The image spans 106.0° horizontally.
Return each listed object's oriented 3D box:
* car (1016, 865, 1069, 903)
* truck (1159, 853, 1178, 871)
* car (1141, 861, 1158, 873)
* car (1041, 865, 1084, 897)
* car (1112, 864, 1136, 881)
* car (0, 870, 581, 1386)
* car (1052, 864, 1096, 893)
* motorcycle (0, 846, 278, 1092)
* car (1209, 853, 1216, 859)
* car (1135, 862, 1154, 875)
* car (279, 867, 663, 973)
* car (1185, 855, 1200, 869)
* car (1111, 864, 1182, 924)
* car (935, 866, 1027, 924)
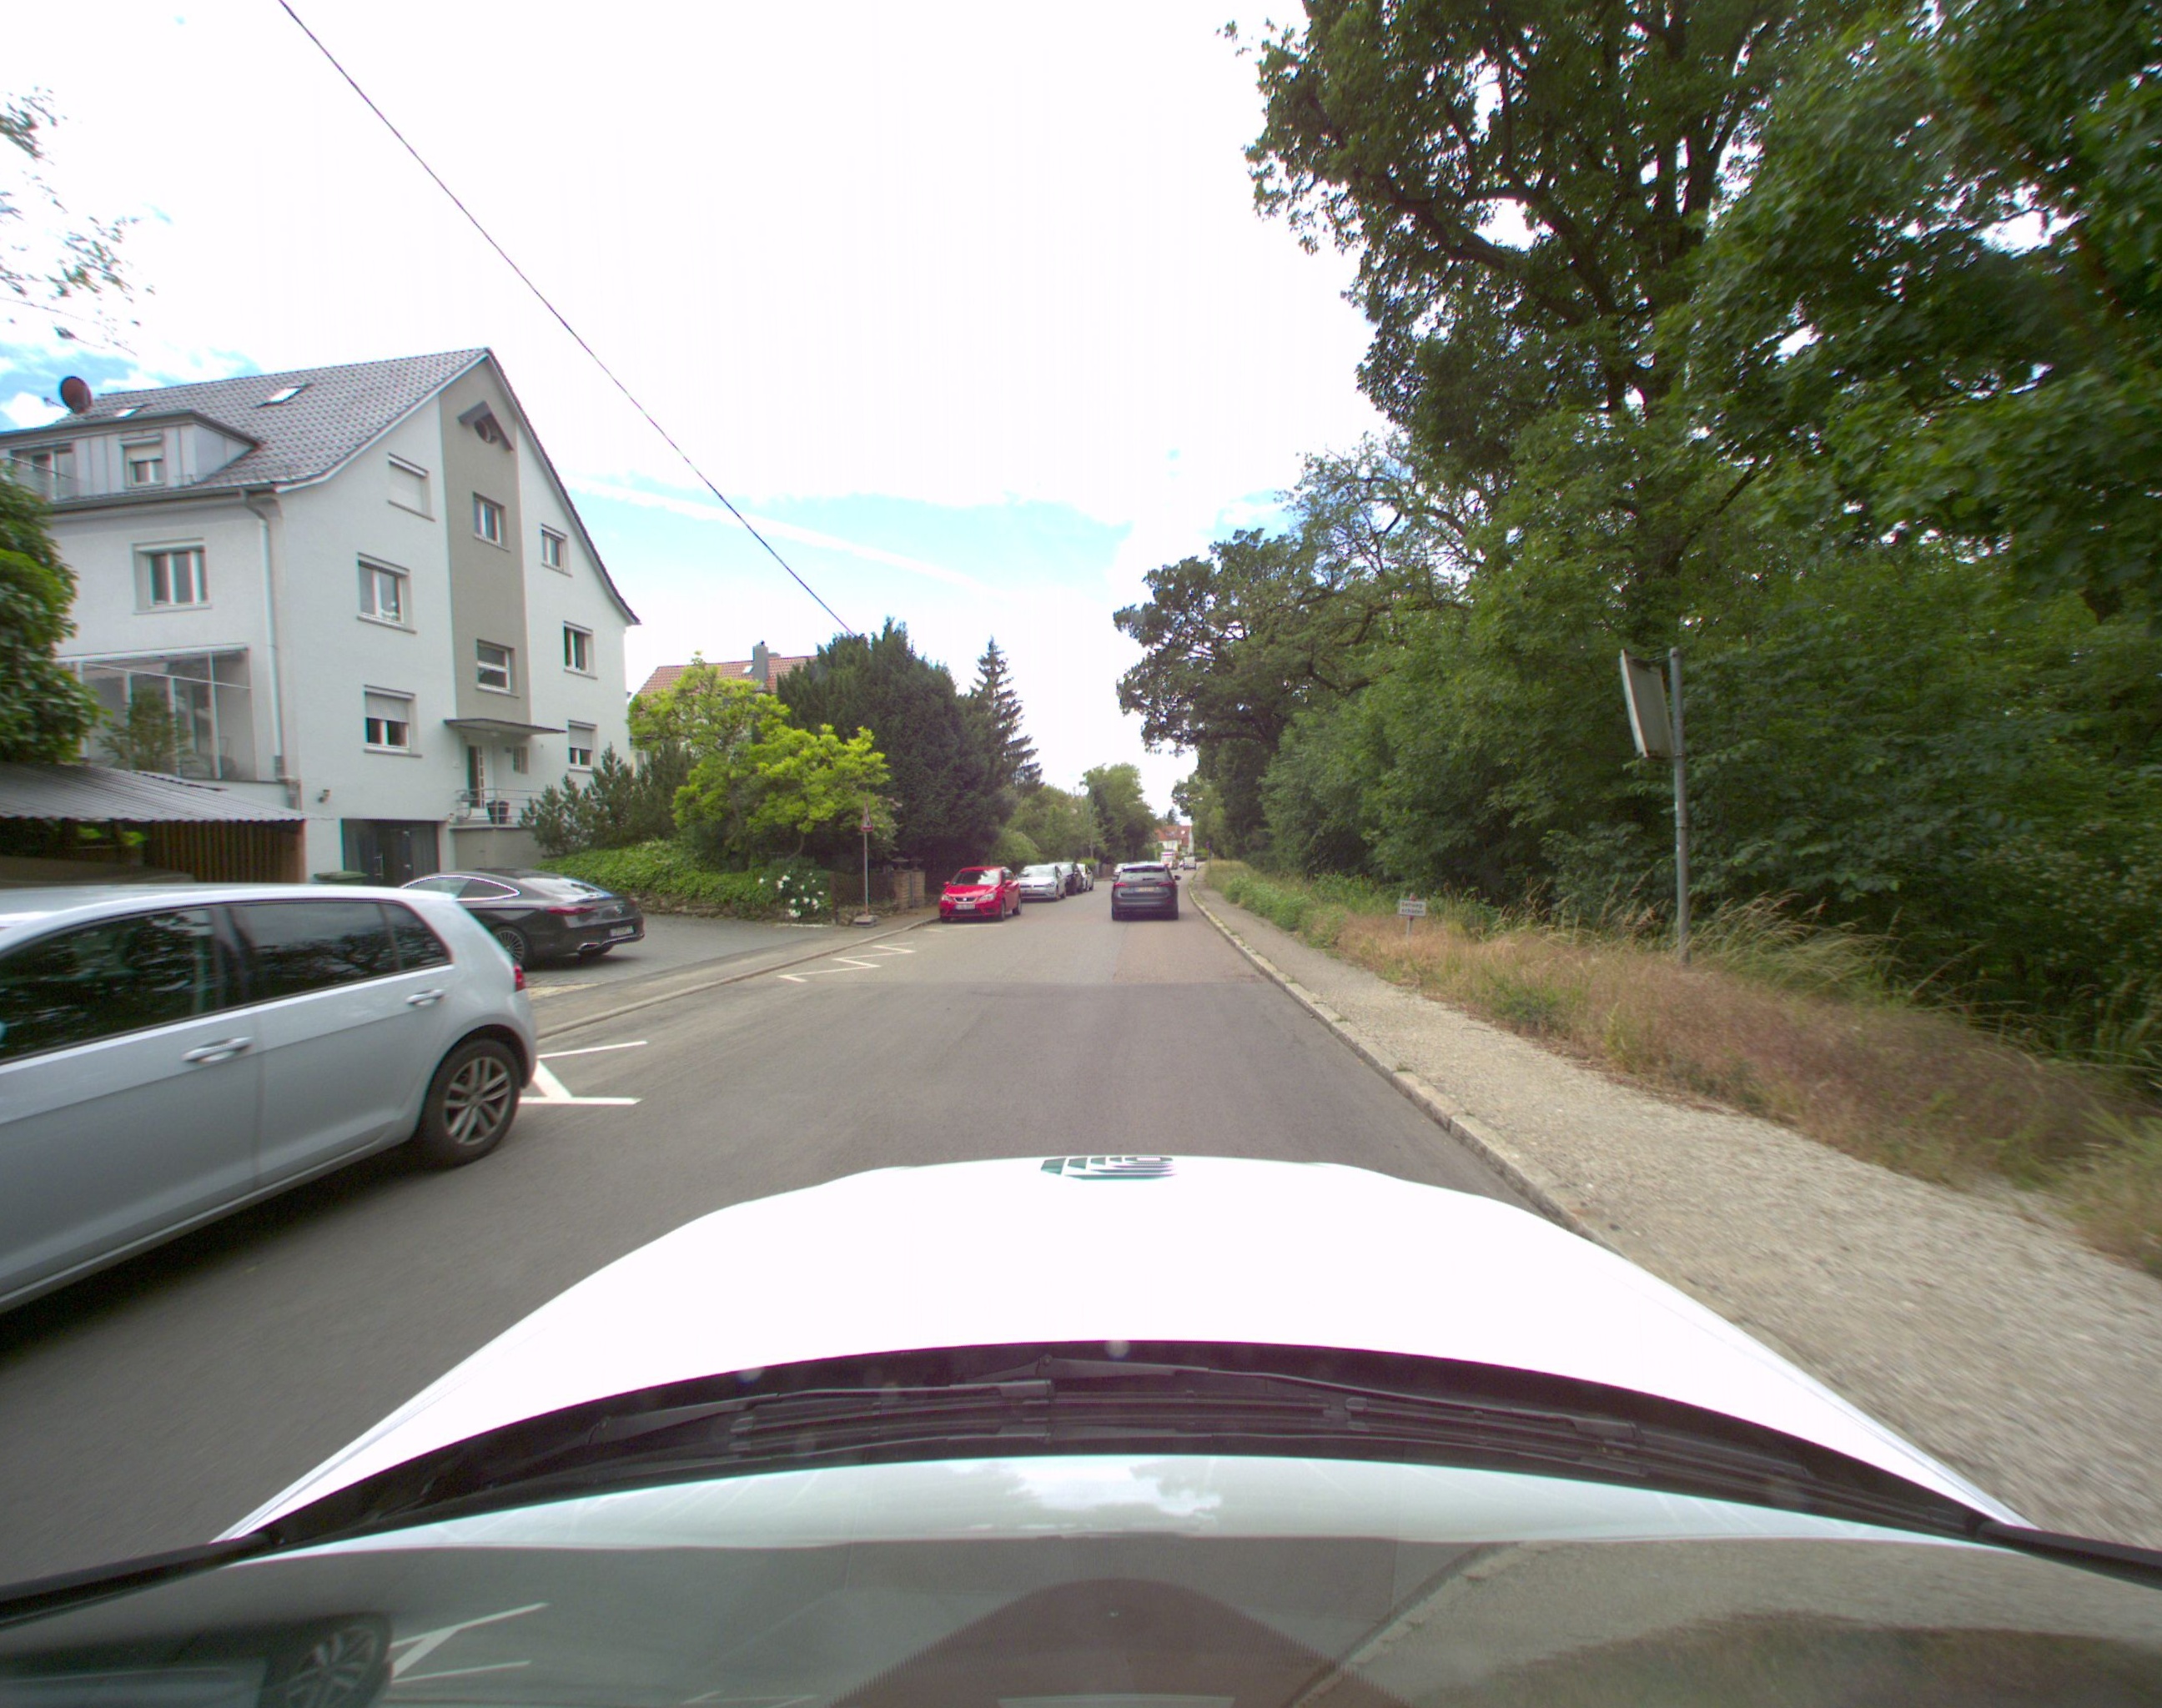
[{"bbox_3d":[-1.486,1.163,32.739,1.741,1.404,4.003,0,0,3],"label":"car"},{"bbox_3d":[14.342,1.209,132.621,2.748,2.794,9.289,-1,0,8],"label":"truck"},{"bbox_3d":[8.456,1.592,100.331,1.739,1.404,4.009,0,0,8],"label":"car"},{"bbox_3d":[-0.819,1.239,38.368,1.741,1.404,4.003,0,0,3],"label":"car"},{"bbox_3d":[3.769,1.569,70.516,1.739,1.404,4.009,0,0,8],"label":"car"},{"bbox_3d":[-3.977,0.823,2.944,1.699,1.468,4.078,0,0,2],"label":"car"},{"bbox_3d":[-0.329,1.245,42.944,1.739,1.404,4.009,0,0,8],"label":"car"},{"bbox_3d":[-6.938,0.700,5.093,0.806,1.485,2.899,0,0,4],"label":"motorcycle"},{"bbox_3d":[33.994,0.473,210.677,1.726,1.447,4.007,0,0,6],"label":"car"},{"bbox_3d":[7.036,1.621,89.865,1.739,1.404,4.009,0,0,8],"label":"car"},{"bbox_3d":[-9.002,0.935,12.255,4.459,1.441,1.881,0,-1,5],"label":"car"},{"bbox_3d":[16.800,1.181,122.919,2.194,2.063,6.147,-1,0,7],"label":"car"},{"bbox_3d":[1.722,1.001,22.168,1.727,1.447,4.184,0,0,3],"label":"car"},{"bbox_3d":[-2.637,1.070,22.448,1.627,1.404,4.007,0,0,6],"label":"car"}]
